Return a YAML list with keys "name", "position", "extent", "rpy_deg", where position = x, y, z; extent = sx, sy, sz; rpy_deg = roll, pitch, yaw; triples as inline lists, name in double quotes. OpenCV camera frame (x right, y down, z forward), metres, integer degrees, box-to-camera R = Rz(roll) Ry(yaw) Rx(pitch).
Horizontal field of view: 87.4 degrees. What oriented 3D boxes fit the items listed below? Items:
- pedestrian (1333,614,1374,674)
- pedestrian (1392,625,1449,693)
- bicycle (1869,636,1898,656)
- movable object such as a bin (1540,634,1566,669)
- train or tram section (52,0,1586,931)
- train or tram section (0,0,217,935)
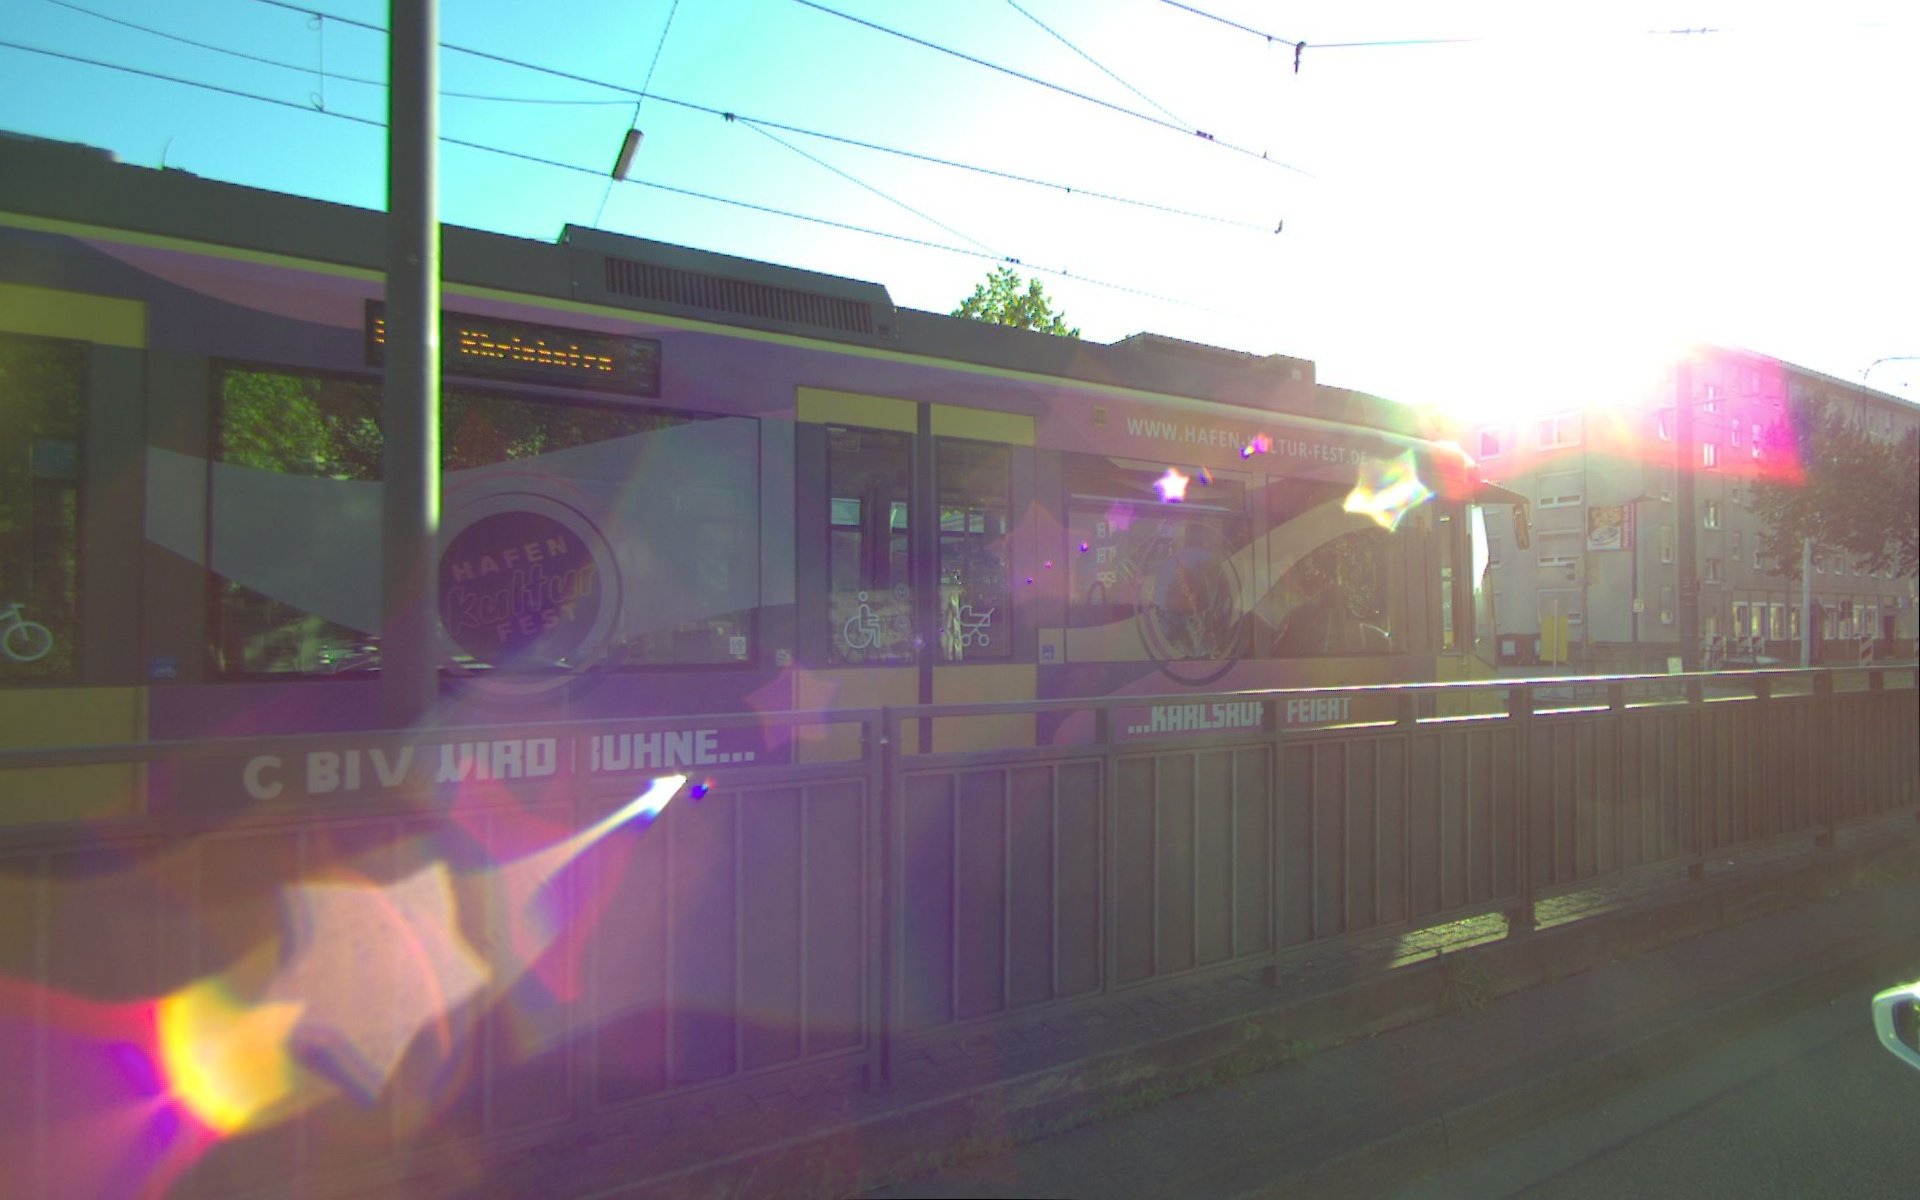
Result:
- name: "pedestrian"
  position: [13.031, 1.442, 33.254]
  extent: [0.989, 1.907, 0.749]
  rpy_deg: [1, 1, -31]
- name: "pedestrian"
  position: [11.899, 1.520, 25.963]
  extent: [0.923, 1.676, 0.922]
  rpy_deg: [1, 1, -19]
- name: "bicycle"
  position: [52.806, 2.616, 57.425]
  extent: [1.757, 1.129, 0.743]
  rpy_deg: [1, -2, -30]
- name: "movable object such as a bin"
  position: [24.624, 2.142, 41.684]
  extent: [0.740, 1.419, 0.660]
  rpy_deg: [1, -2, -32]
- name: "train or tram section"
  position: [0.400, -0.459, 7.400]
  extent: [9.984, 3.563, 3.020]
  rpy_deg: [2, -3, -32]
- name: "train or tram section"
  position: [-8.027, -0.744, 2.155]
  extent: [9.984, 3.563, 3.020]
  rpy_deg: [2, -3, -32]
